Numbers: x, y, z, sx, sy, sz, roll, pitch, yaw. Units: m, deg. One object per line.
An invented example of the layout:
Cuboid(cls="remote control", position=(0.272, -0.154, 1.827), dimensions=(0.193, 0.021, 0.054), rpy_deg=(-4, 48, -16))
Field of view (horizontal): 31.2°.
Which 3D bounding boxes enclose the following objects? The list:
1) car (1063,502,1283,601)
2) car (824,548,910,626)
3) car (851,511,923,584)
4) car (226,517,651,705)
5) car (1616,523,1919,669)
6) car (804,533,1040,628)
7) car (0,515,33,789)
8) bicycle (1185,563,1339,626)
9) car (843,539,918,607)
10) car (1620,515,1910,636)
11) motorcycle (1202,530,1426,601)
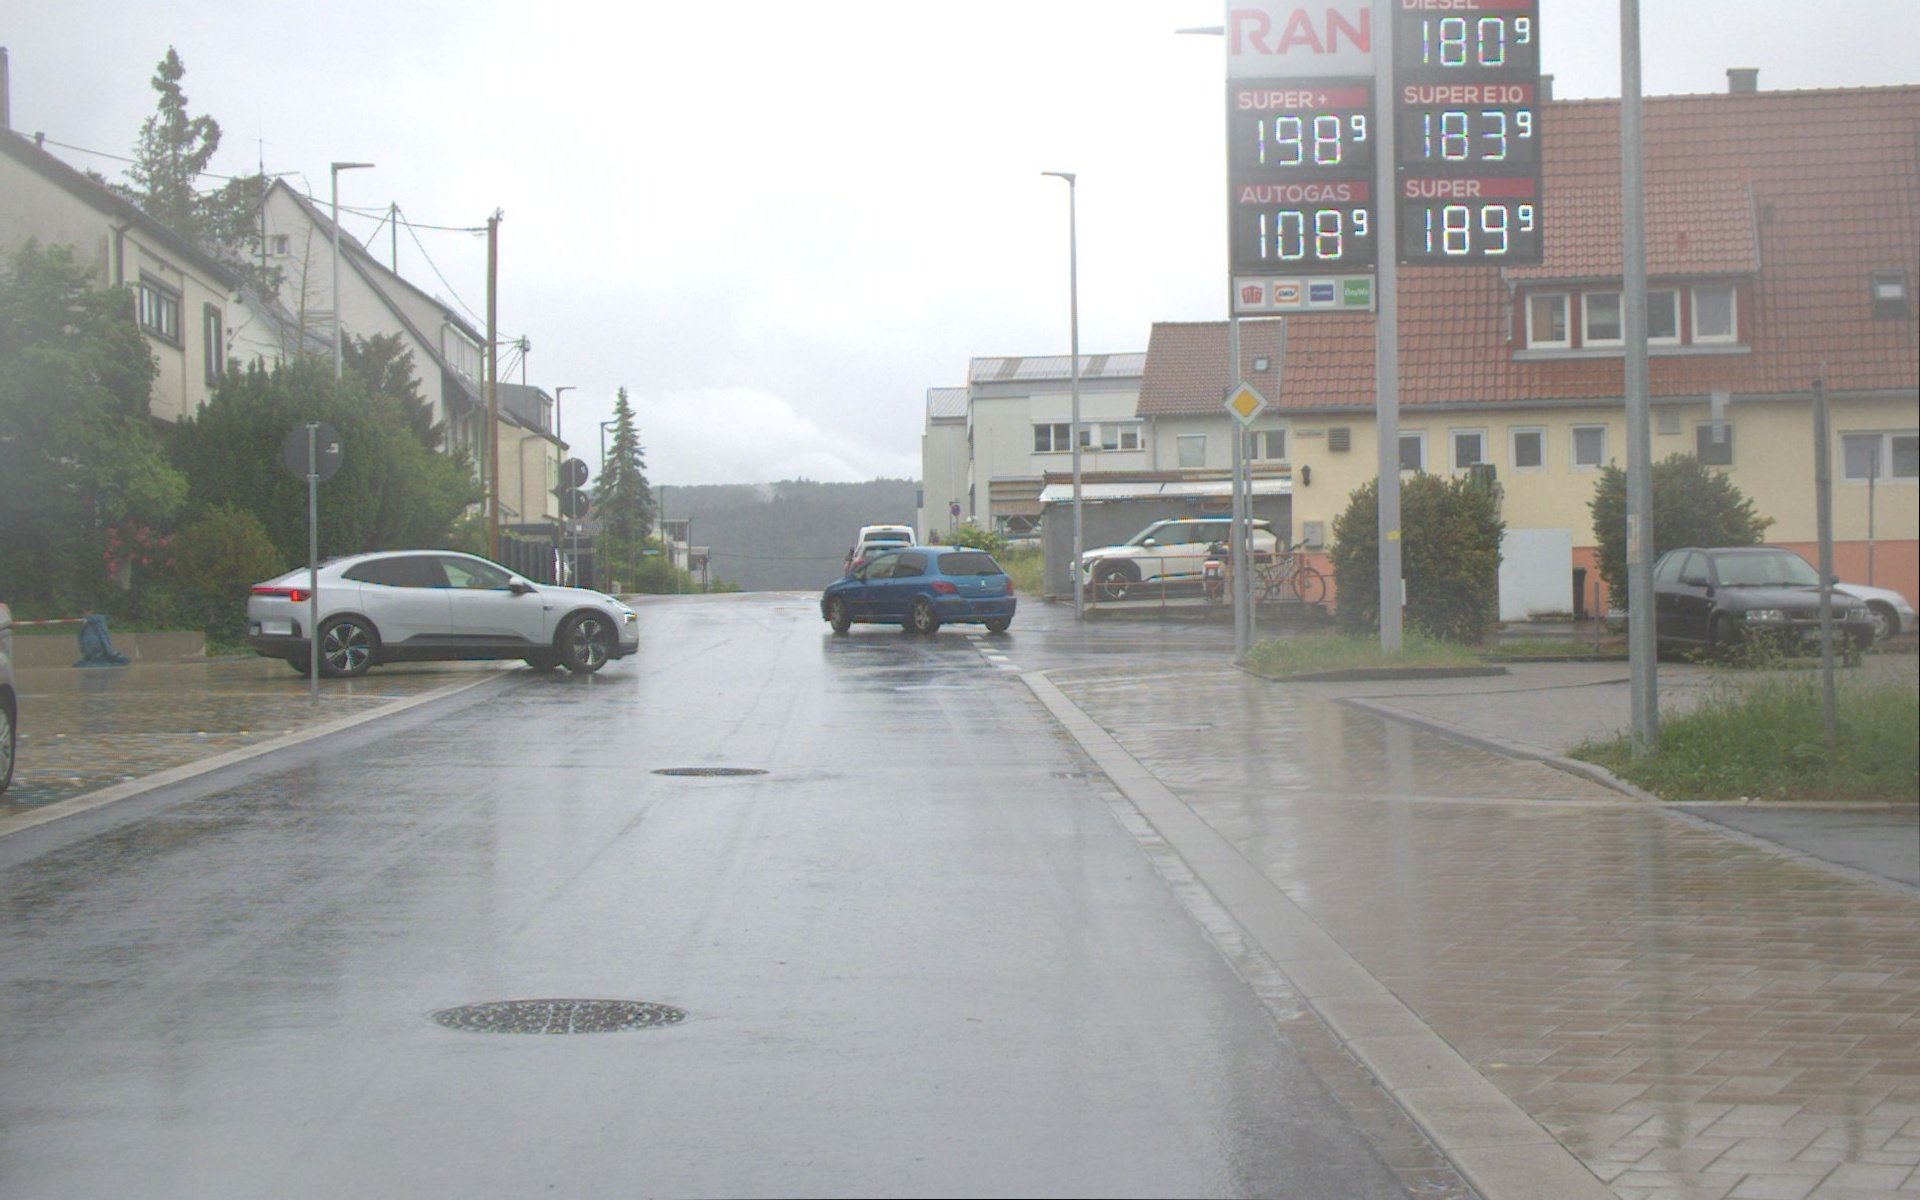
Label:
Cuboid(cls="car", position=(4.235, -0.951, 68.705), dimensions=(4.112, 1.700, 1.789), rpy_deg=(3, -1, -3))
Cuboid(cls="car", position=(-2.270, -0.299, 84.638), dimensions=(1.993, 1.700, 4.000), rpy_deg=(3, -1, -1))
Cuboid(cls="car", position=(-1.926, -1.377, 91.219), dimensions=(1.783, 1.700, 4.000), rpy_deg=(3, -1, -1))
Cuboid(cls="car", position=(-6.449, 0.160, 42.501), dimensions=(4.752, 2.007, 2.000), rpy_deg=(4, -2, -22))
Cuboid(cls="car", position=(9.544, -0.018, 40.788), dimensions=(1.993, 1.547, 4.001), rpy_deg=(3, -1, -12))
Cuboid(cls="car", position=(-0.691, -0.352, 59.827), dimensions=(1.852, 1.488, 3.998), rpy_deg=(4, -2, -42))
Cuboid(cls="car", position=(-6.674, 0.340, 19.019), dimensions=(1.993, 1.623, 4.153), rpy_deg=(-1, 1, -1))
Cuboid(cls="bicycle", position=(5.430, -0.107, 62.095), dimensions=(0.668, 1.063, 3.629), rpy_deg=(4, -2, -32))
Cuboid(cls="car", position=(-2.237, -0.746, 97.389), dimensions=(1.993, 1.700, 4.000), rpy_deg=(3, -1, -1))
Cuboid(cls="car", position=(11.970, -0.353, 51.323), dimensions=(3.988, 1.550, 1.954), rpy_deg=(3, -1, 8))
Cuboid(cls="motorcycle", position=(6.612, -0.644, 64.343), dimensions=(3.993, 1.149, 1.092), rpy_deg=(2, -2, 26))
